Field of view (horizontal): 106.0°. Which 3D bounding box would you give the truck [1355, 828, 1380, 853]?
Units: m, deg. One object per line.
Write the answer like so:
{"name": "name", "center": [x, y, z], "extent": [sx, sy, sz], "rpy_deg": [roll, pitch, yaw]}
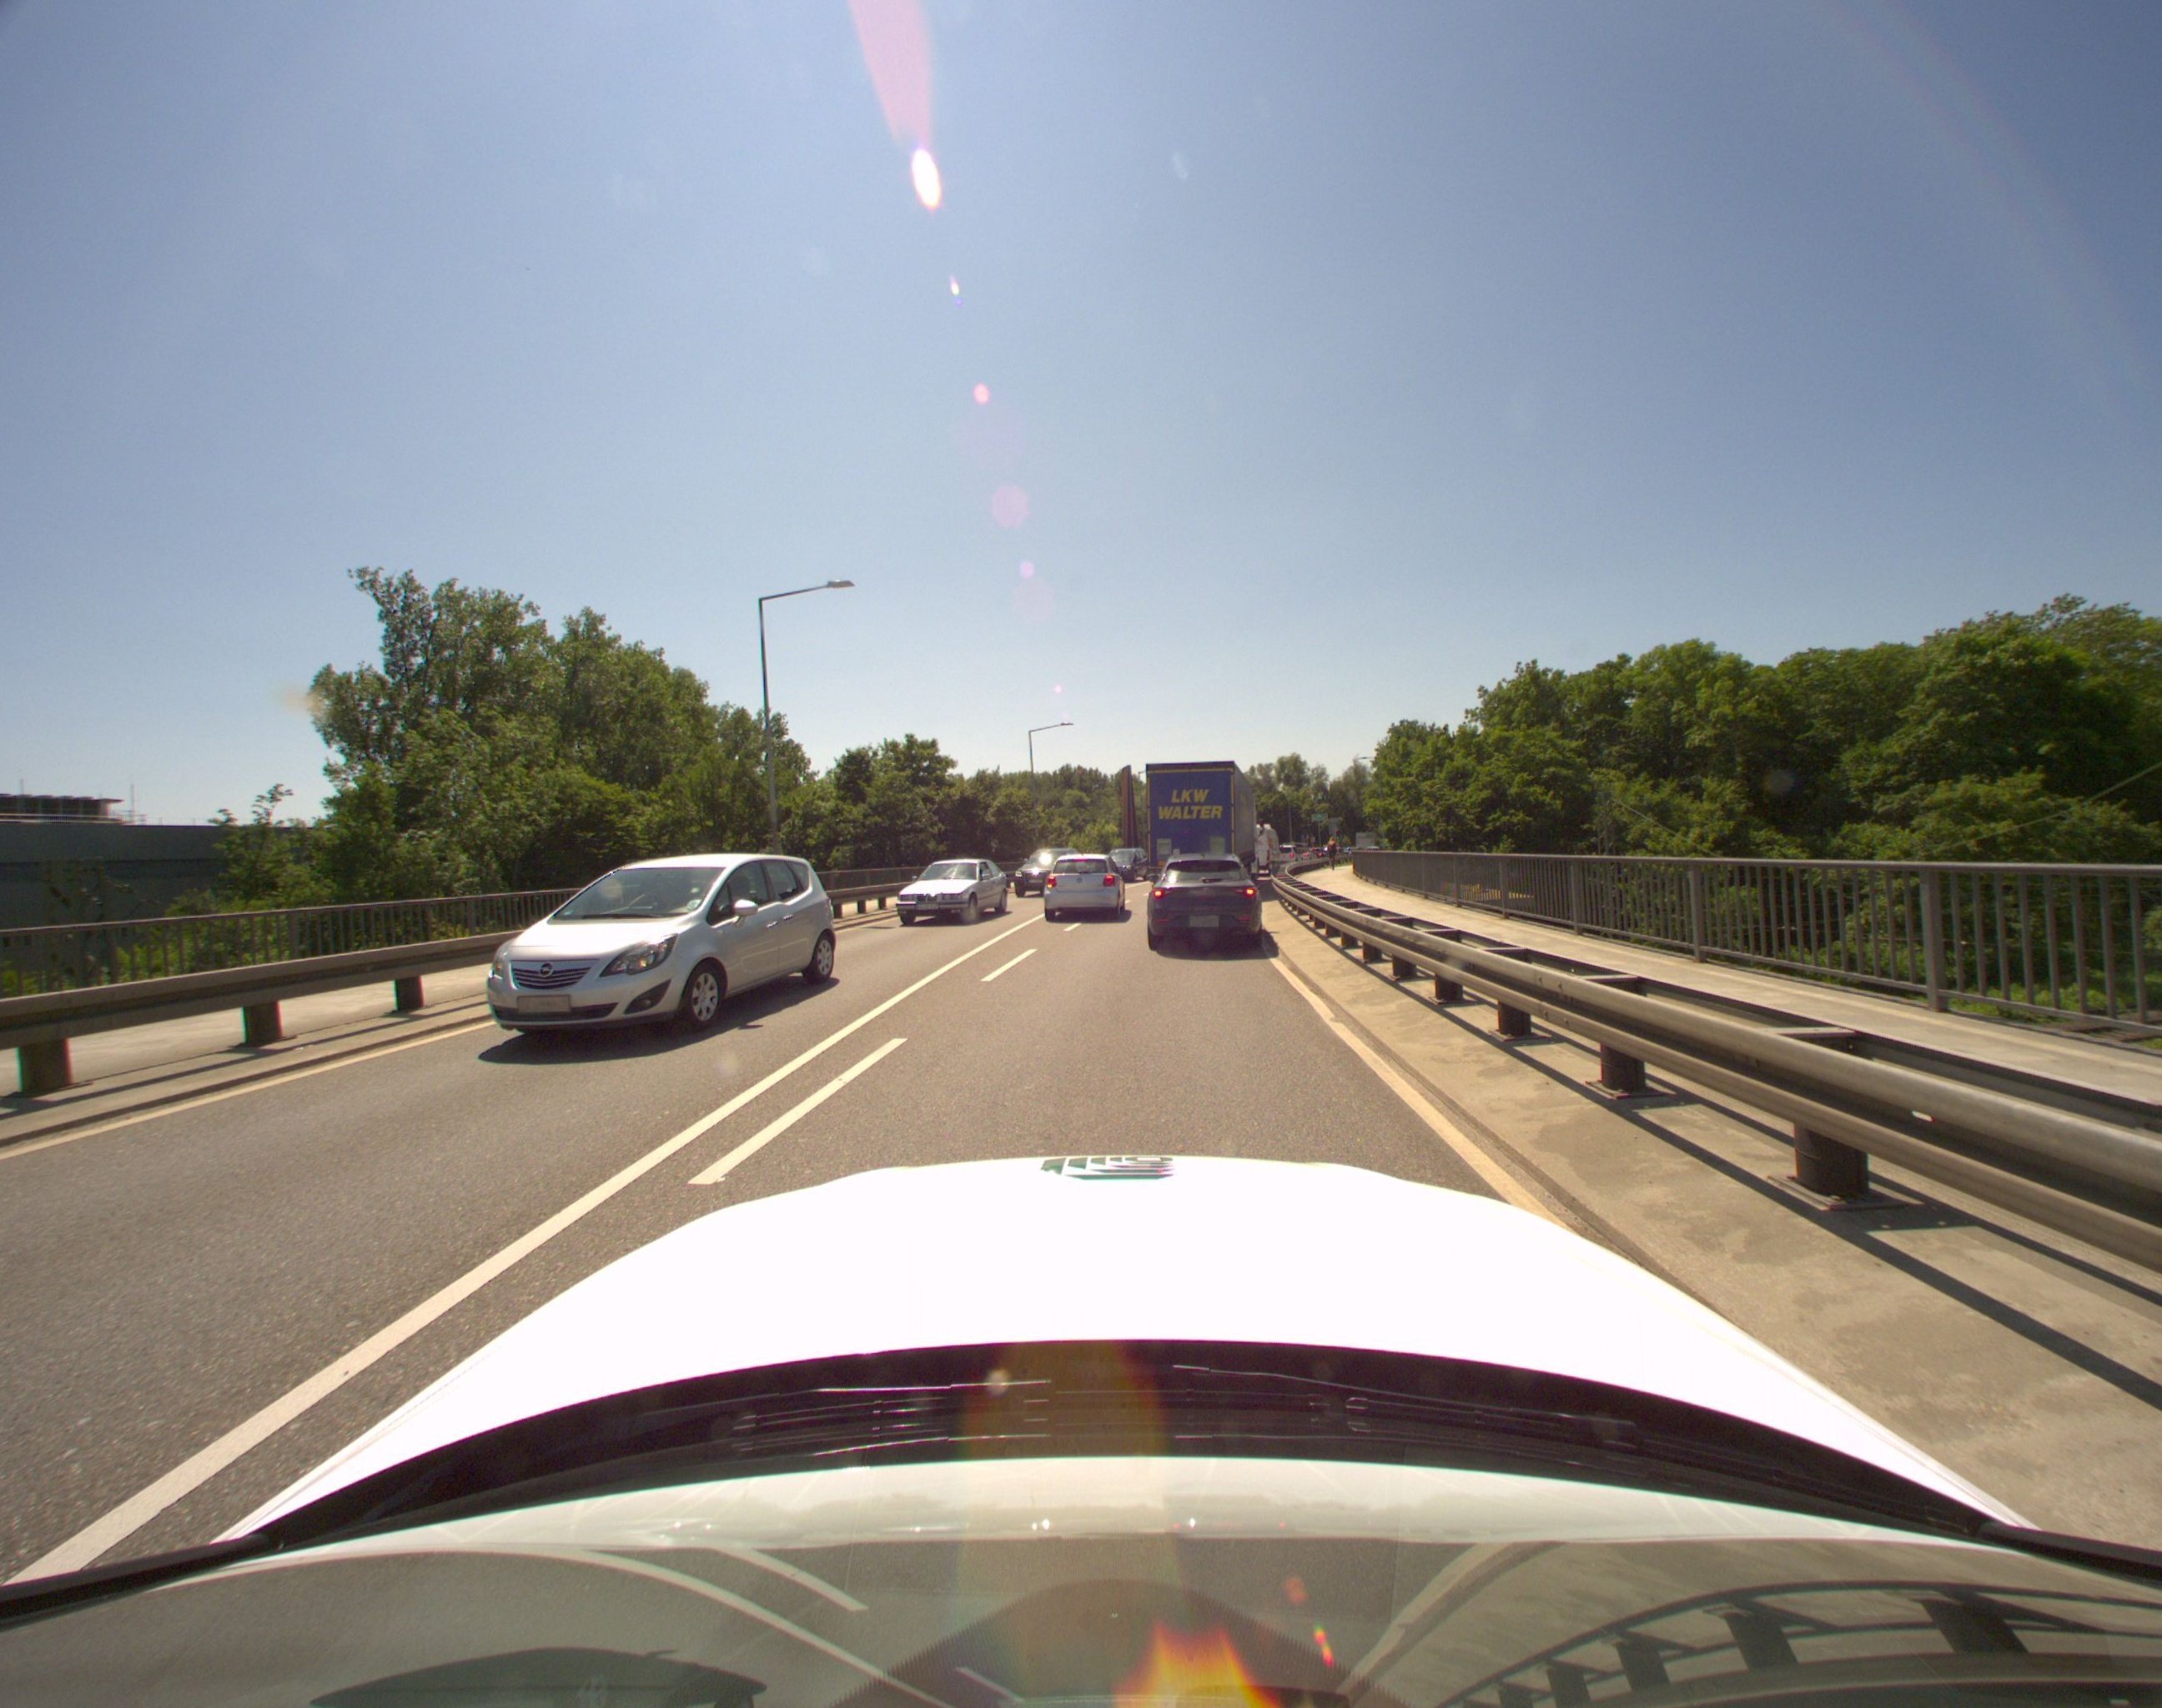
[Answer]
{"name": "truck", "center": [34.656, -1.589, 98.394], "extent": [2.313, 2.873, 5.975], "rpy_deg": [-1, 0, 24]}

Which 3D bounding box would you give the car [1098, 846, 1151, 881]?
{"name": "car", "center": [2.189, 0.409, 39.999], "extent": [1.694, 1.626, 4.270], "rpy_deg": [0, 0, 15]}

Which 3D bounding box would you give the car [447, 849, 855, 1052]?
{"name": "car", "center": [-4.025, 0.771, 8.575], "extent": [1.728, 1.580, 4.183], "rpy_deg": [-2, 0, 5]}

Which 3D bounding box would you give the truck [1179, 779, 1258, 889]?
{"name": "truck", "center": [6.285, -0.834, 36.400], "extent": [2.884, 4.418, 6.581], "rpy_deg": [-1, 0, 14]}

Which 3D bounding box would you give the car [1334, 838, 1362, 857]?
{"name": "car", "center": [25.916, -0.602, 78.881], "extent": [1.669, 1.760, 4.025], "rpy_deg": [-1, 0, 31]}

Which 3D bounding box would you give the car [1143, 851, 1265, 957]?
{"name": "car", "center": [1.994, 0.706, 13.476], "extent": [1.668, 1.456, 3.967], "rpy_deg": [-1, 0, 7]}

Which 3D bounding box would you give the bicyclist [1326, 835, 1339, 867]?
{"name": "bicyclist", "center": [13.745, -0.186, 44.463], "extent": [0.573, 1.683, 0.732], "rpy_deg": [-4, -1, 17]}

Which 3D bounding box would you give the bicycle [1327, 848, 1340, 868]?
{"name": "bicycle", "center": [13.799, 0.221, 44.542], "extent": [0.577, 1.035, 1.491], "rpy_deg": [-4, -1, 17]}

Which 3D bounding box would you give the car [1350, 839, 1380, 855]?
{"name": "car", "center": [29.654, -0.717, 84.980], "extent": [1.974, 1.575, 4.025], "rpy_deg": [1, -1, 34]}

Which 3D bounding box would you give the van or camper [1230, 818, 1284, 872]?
{"name": "van or camper", "center": [9.973, -0.515, 45.670], "extent": [2.136, 2.815, 6.418], "rpy_deg": [-1, 0, 19]}

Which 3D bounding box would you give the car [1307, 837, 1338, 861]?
{"name": "car", "center": [19.851, -0.443, 66.809], "extent": [1.705, 1.844, 4.024], "rpy_deg": [-1, 1, 27]}

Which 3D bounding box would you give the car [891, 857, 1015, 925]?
{"name": "car", "center": [-2.898, 0.792, 19.341], "extent": [1.687, 1.376, 4.010], "rpy_deg": [-2, 0, 9]}

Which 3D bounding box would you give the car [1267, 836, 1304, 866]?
{"name": "car", "center": [13.342, -0.247, 53.004], "extent": [1.705, 1.843, 4.022], "rpy_deg": [-1, 1, 23]}

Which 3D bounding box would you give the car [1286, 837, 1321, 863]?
{"name": "car", "center": [16.184, -0.301, 59.202], "extent": [1.705, 1.802, 4.024], "rpy_deg": [-1, 1, 26]}

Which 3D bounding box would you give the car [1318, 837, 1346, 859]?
{"name": "car", "center": [22.413, -0.566, 72.581], "extent": [1.705, 1.844, 4.024], "rpy_deg": [-1, 1, 27]}

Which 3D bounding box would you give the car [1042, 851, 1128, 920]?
{"name": "car", "center": [0.196, 0.667, 19.431], "extent": [1.669, 1.411, 3.981], "rpy_deg": [-1, 1, 5]}

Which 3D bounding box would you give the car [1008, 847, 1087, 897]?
{"name": "car", "center": [-1.116, 0.577, 29.380], "extent": [1.789, 1.641, 4.315], "rpy_deg": [-2, 0, 12]}

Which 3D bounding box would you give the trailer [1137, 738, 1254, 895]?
{"name": "trailer", "center": [4.535, -1.131, 29.378], "extent": [2.884, 4.418, 12.480], "rpy_deg": [-1, 0, 14]}
